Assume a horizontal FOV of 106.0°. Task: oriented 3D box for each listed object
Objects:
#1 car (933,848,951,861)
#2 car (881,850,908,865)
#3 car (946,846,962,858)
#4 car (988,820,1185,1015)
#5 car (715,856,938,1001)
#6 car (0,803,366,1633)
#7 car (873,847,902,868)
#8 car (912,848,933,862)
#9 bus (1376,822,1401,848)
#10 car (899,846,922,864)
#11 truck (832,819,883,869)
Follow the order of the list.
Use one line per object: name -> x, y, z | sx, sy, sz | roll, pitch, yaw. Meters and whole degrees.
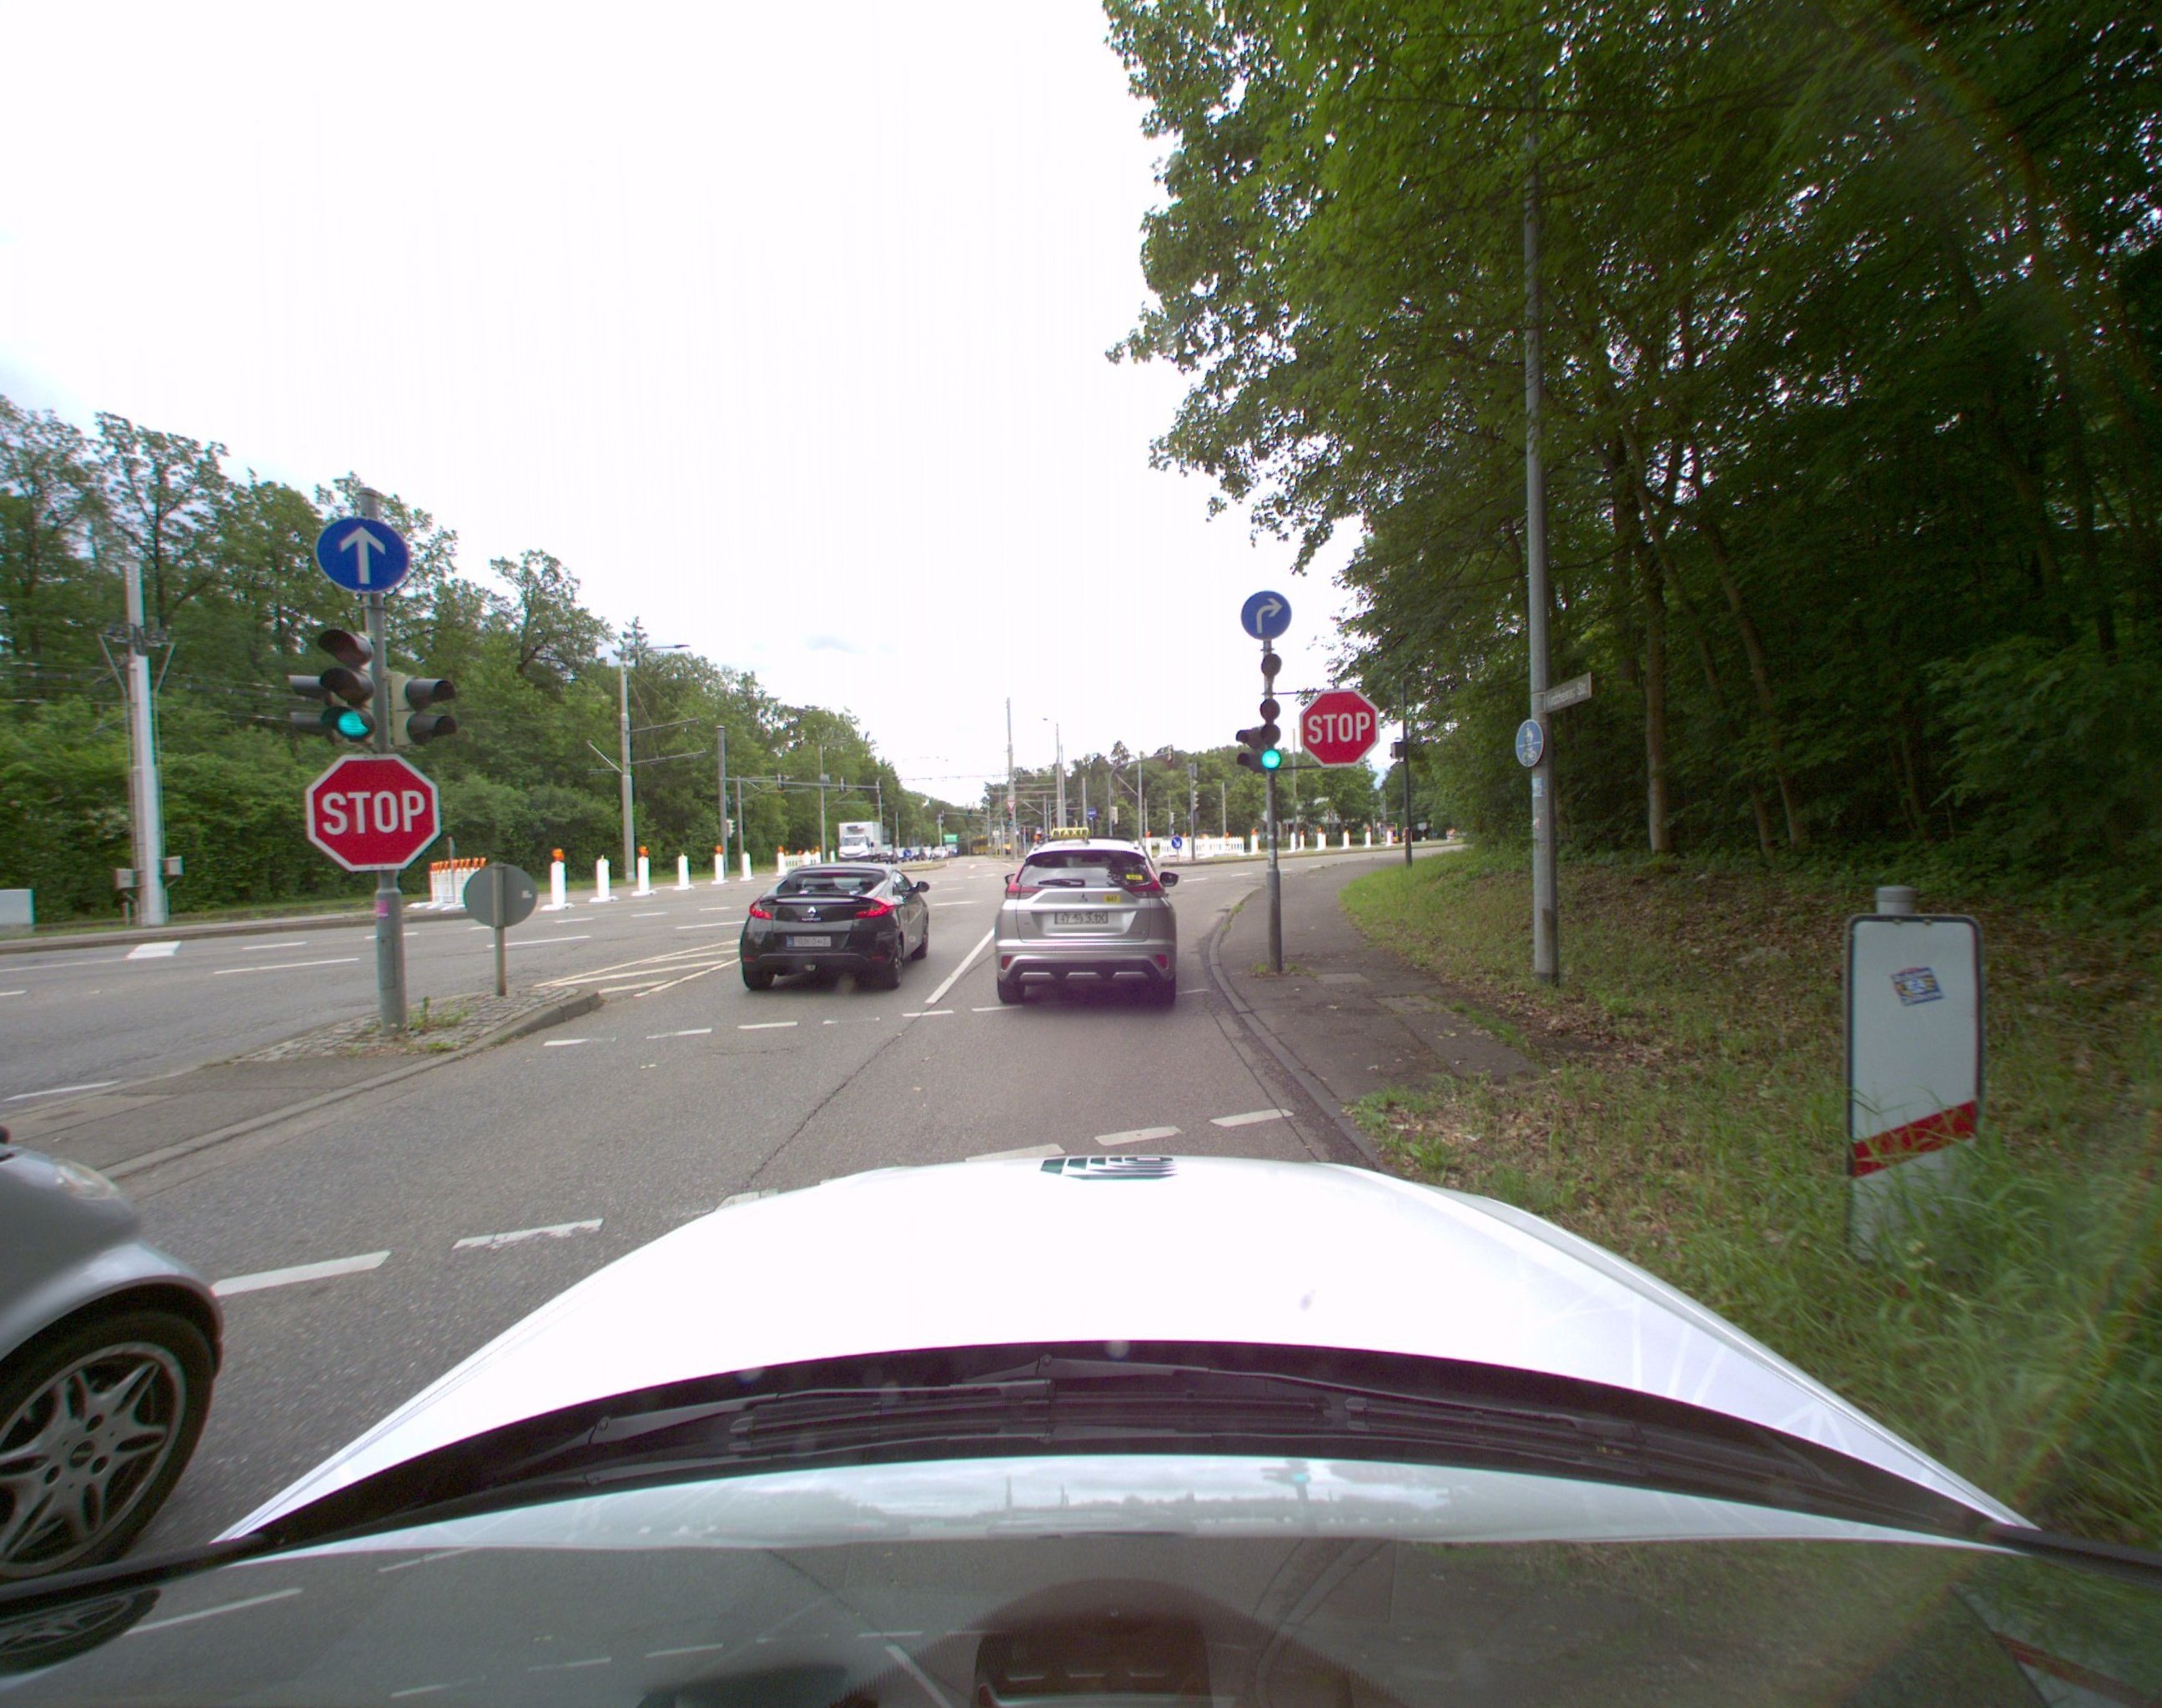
car -> -17.765, 0.071, 104.193 | 1.959, 1.541, 4.388 | -2, 1, -5
car -> -18.510, 0.309, 81.196 | 1.959, 1.361, 4.681 | -2, 1, -5
car -> -18.395, -0.297, 117.734 | 1.959, 1.540, 4.302 | -2, 1, -5
car -> 0.099, 0.555, 9.241 | 1.767, 1.748, 3.782 | 0, 1, 1
car -> -2.908, 0.760, 10.102 | 1.770, 1.361, 3.472 | -3, 0, -3
car -> -2.823, 0.735, 0.965 | 1.453, 1.586, 2.727 | -3, 0, 0
car -> -17.239, 0.271, 72.791 | 1.960, 1.750, 4.834 | -2, 1, -7
car -> -19.147, 0.128, 98.369 | 1.959, 1.607, 4.302 | -2, 1, -5
bus -> 46.432, -2.922, 123.386 | 2.799, 3.603, 12.865 | -2, 1, 18
car -> -19.152, 0.099, 91.633 | 1.959, 1.844, 4.681 | -2, 1, -5
truck -> -15.803, -0.707, 58.057 | 2.447, 3.224, 7.135 | -3, 0, -8
